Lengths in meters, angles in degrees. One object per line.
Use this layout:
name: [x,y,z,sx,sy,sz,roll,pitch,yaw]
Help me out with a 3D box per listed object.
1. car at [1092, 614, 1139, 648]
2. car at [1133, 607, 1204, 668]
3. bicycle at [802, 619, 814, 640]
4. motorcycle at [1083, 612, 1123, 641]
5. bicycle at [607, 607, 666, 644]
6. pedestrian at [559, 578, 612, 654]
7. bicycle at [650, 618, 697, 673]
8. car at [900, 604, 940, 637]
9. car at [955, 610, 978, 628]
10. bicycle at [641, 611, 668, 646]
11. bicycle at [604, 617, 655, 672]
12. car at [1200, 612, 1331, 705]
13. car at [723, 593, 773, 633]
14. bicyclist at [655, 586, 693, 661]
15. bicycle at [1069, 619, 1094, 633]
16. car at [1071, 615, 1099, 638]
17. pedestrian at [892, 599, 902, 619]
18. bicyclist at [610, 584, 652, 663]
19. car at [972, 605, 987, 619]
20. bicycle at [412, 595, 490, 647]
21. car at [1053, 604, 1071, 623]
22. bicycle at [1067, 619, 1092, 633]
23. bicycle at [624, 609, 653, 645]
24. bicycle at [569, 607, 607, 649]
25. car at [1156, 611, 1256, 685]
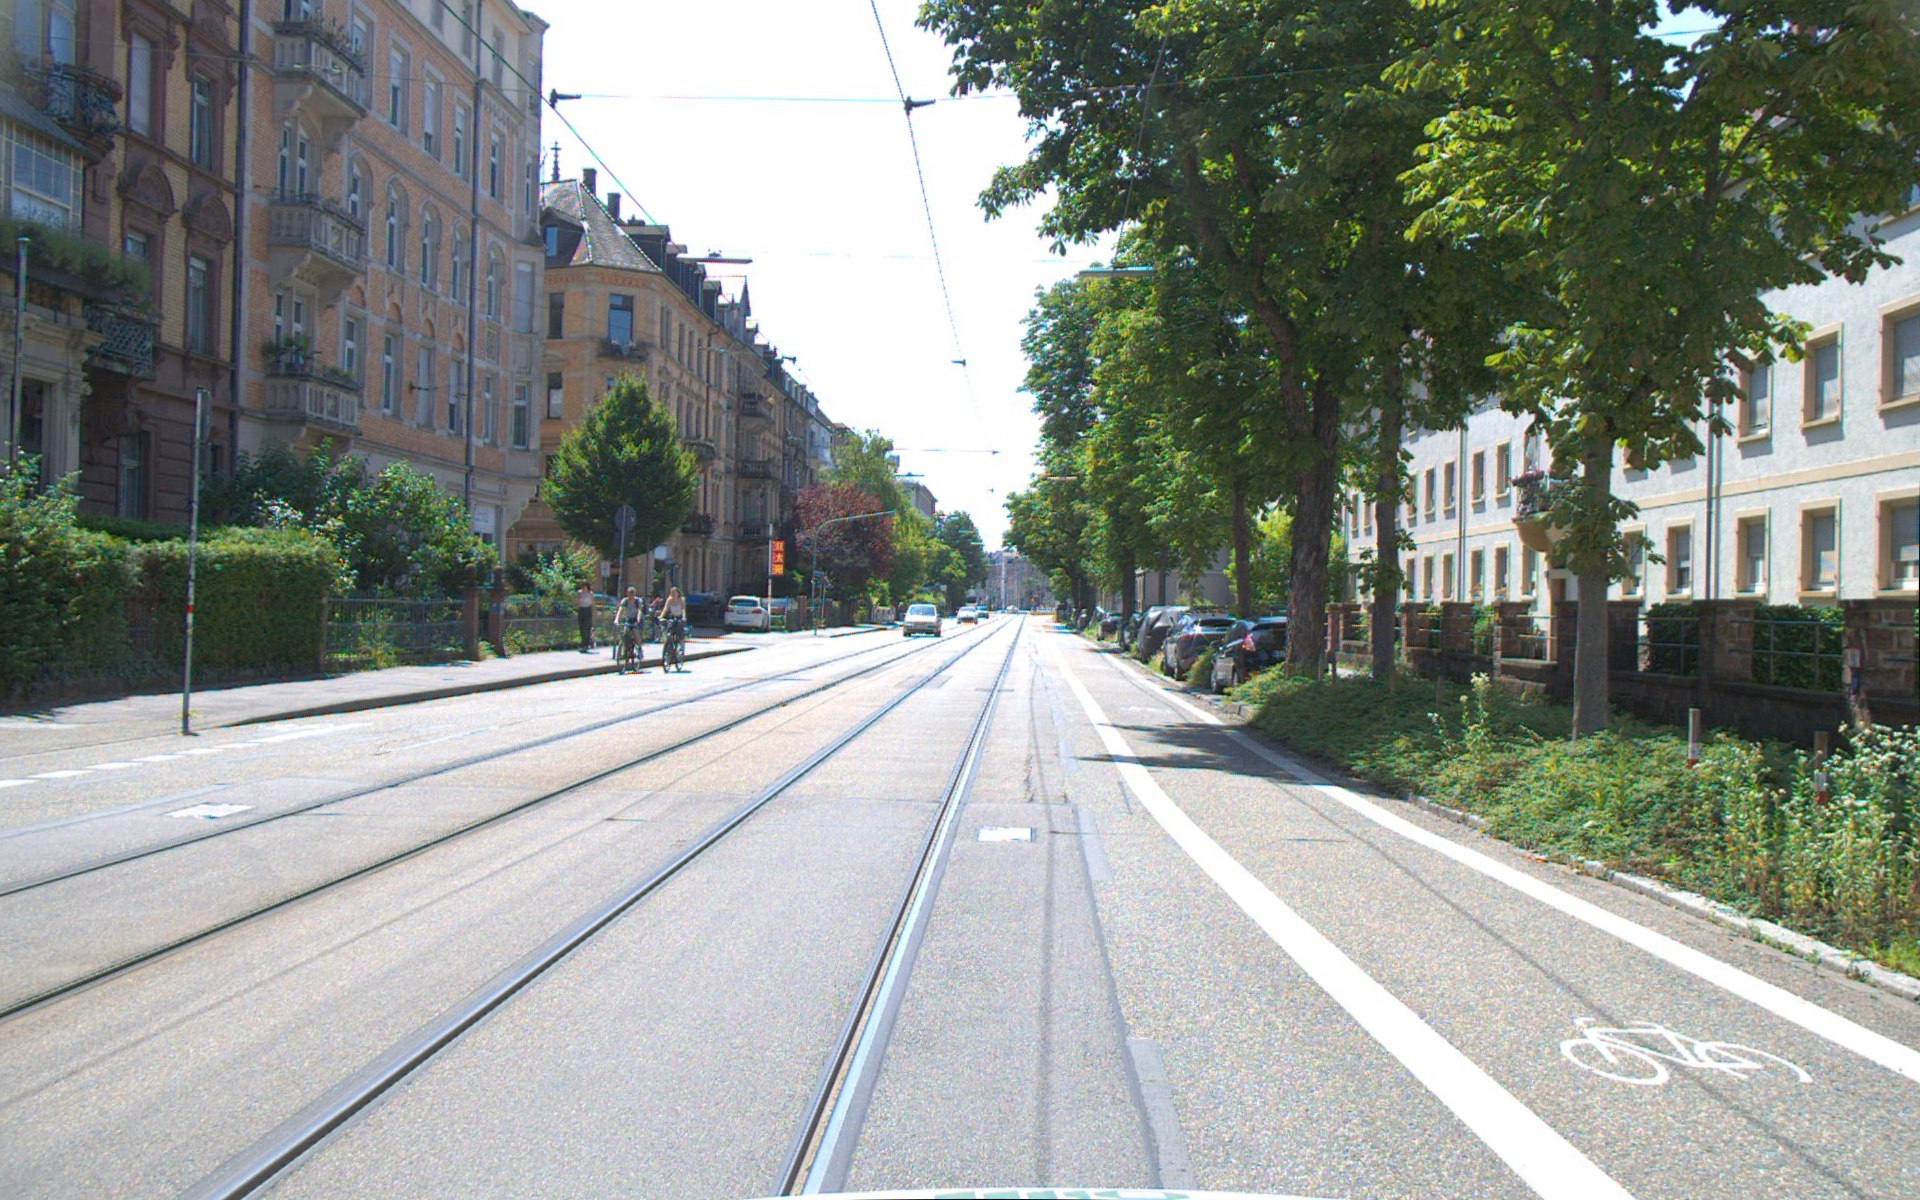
car: [7.433,1.462,79.462,1.733,1.451,4.861,2,0,0]
car: [6.249,1.078,49.981,1.906,1.679,4.883,2,0,5]
bicycle: [-7.761,1.488,84.524,0.444,1.021,1.806,2,0,-1]
motorcycle: [8.190,1.497,94.832,0.863,1.567,2.283,3,0,-44]
bicycle: [-9.939,0.770,50.843,1.669,1.055,0.551,2,0,7]
pedestrian: [-9.093,0.377,40.172,0.834,1.753,1.139,5,0,3]
bicycle: [-6.026,0.940,34.864,0.569,1.097,1.891,1,0,2]
car: [-1.849,0.952,77.625,1.650,1.475,4.001,2,0,2]
car: [0.559,1.611,137.923,1.719,1.449,4.001,1,-1,3]
bicycle: [-9.115,0.855,49.443,0.430,1.000,1.711,2,0,1]
bicycle: [-6.925,0.922,34.723,0.616,1.097,1.875,1,0,2]
car: [5.576,1.029,30.602,1.623,1.541,3.999,2,0,0]
car: [-9.666,0.589,75.540,1.828,1.628,4.099,3,-1,-3]
bicyclist: [-6.021,0.491,34.883,0.580,1.571,0.952,1,-1,2]
bicycle: [9.586,2.073,130.814,1.921,1.082,0.599,2,-1,9]
car: [8.755,1.867,116.369,1.737,1.527,4.306,1,0,1]
pedestrian: [-5.209,0.735,135.920,0.736,1.657,0.833,2,-1,-3]
bicyclist: [-6.919,0.489,34.769,0.621,1.612,1.028,1,0,2]
car: [2.318,1.420,194.997,1.651,1.480,3.749,2,-1,2]
bicycle: [-10.932,0.445,35.541,1.478,1.062,0.495,2,0,4]
car: [11.694,1.553,189.378,1.952,2.071,4.698,2,0,2]
bicycle: [9.421,2.064,130.328,1.849,1.070,0.538,2,-1,9]
bicycle: [-9.205,0.761,47.404,0.430,1.000,1.711,2,0,1]
bicycle: [-9.494,0.705,42.266,0.486,1.004,1.711,6,0,1]
car: [5.766,1.082,39.205,1.697,1.579,4.453,2,0,0]
